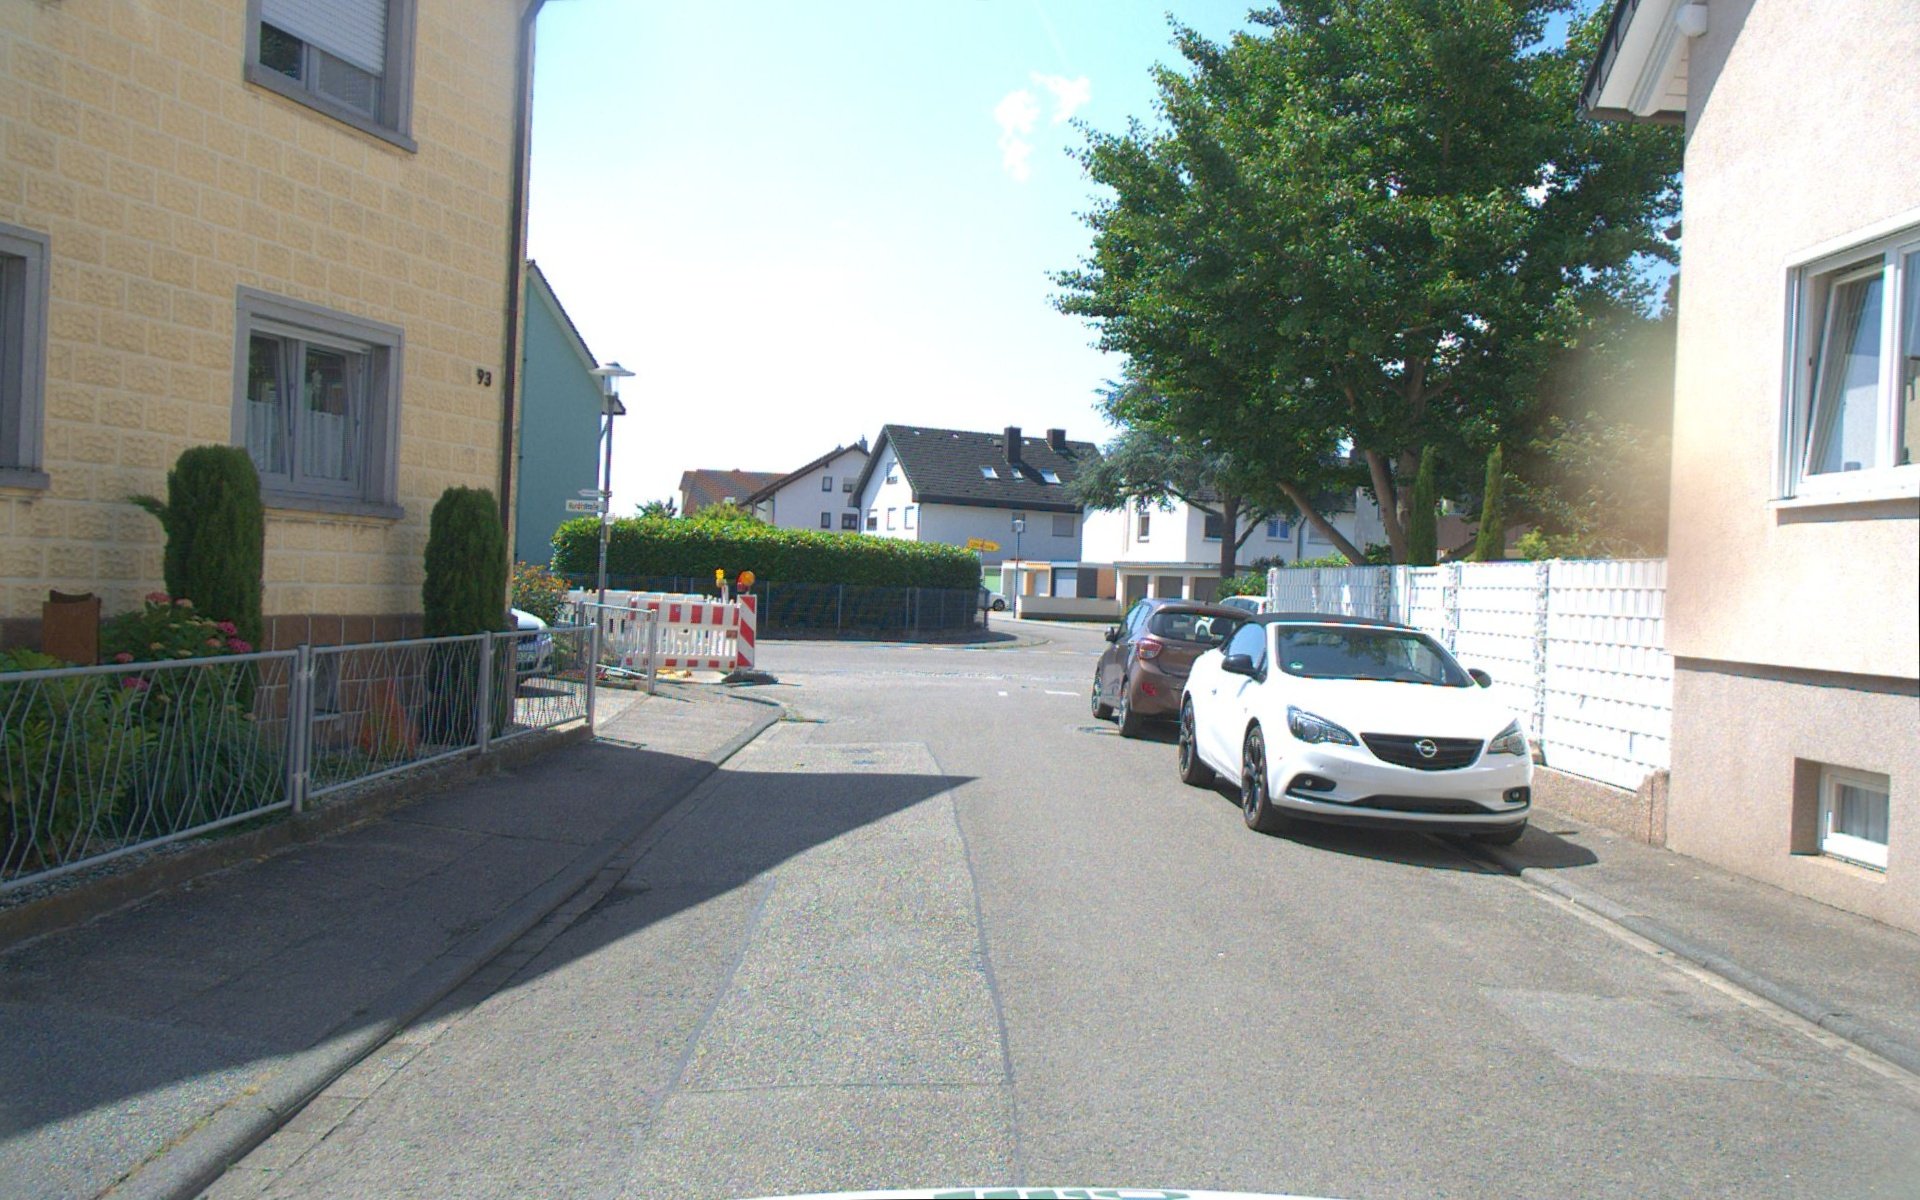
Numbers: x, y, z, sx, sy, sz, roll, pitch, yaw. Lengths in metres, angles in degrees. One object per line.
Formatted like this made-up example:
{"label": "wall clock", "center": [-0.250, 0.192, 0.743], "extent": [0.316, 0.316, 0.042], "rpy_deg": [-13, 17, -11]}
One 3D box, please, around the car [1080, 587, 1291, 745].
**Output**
{"label": "car", "center": [2.513, 0.679, 19.360], "extent": [1.678, 1.559, 4.033], "rpy_deg": [3, 0, -3]}

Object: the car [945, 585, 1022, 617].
{"label": "car", "center": [1.201, 0.044, 85.316], "extent": [3.550, 1.433, 1.772], "rpy_deg": [3, 1, -23]}

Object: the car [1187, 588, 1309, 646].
{"label": "car", "center": [9.112, 0.505, 52.598], "extent": [1.775, 1.590, 4.112], "rpy_deg": [3, 1, -25]}

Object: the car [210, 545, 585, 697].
{"label": "car", "center": [-6.734, 0.206, 19.673], "extent": [4.377, 1.511, 1.788], "rpy_deg": [3, 1, 31]}

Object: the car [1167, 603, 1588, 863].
{"label": "car", "center": [2.864, 0.827, 12.524], "extent": [1.857, 1.453, 4.736], "rpy_deg": [3, 0, -1]}
